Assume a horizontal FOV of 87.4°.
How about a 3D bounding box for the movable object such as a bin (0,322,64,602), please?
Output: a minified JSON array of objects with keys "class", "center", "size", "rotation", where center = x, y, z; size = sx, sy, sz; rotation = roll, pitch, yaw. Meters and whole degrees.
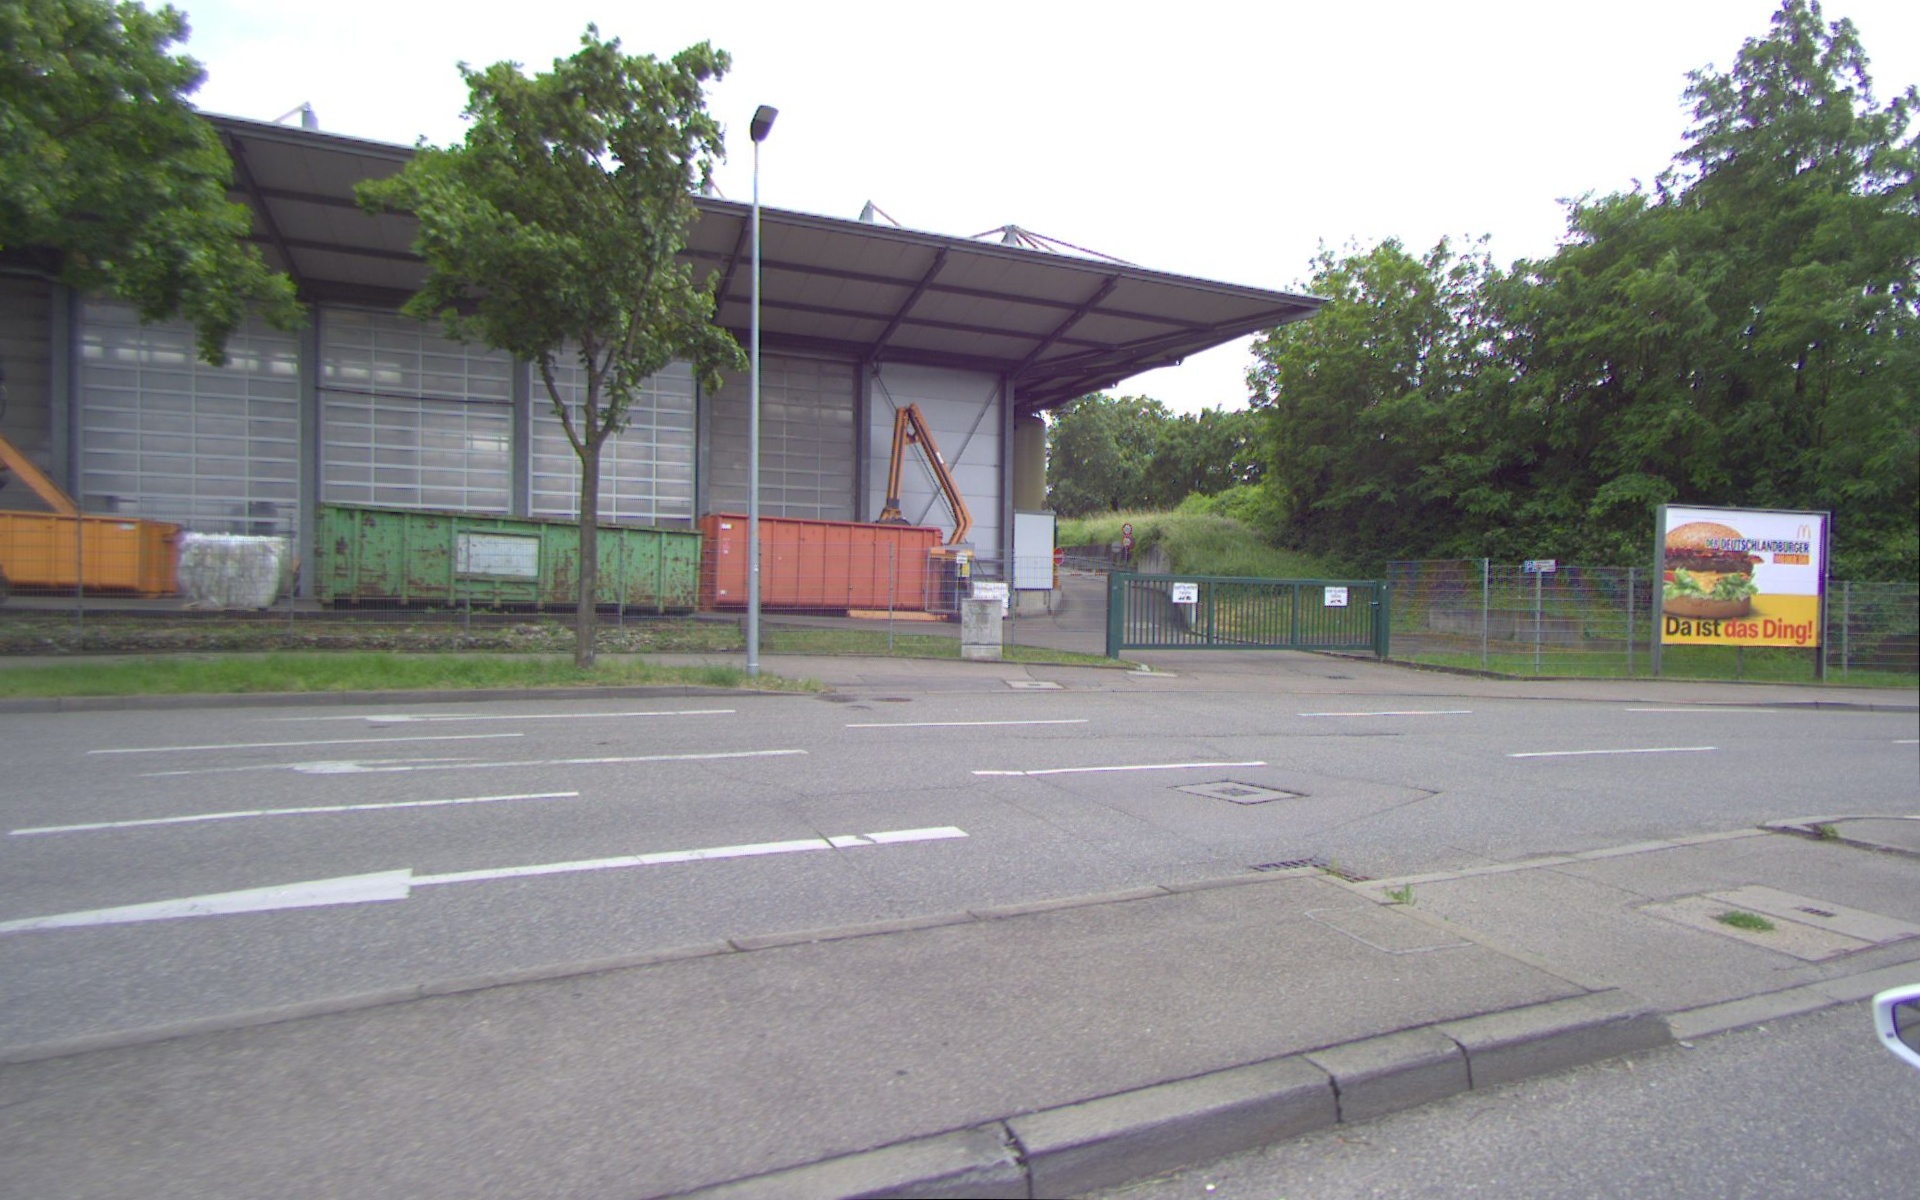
[{"class":"movable object such as a bin","center":[-17.599,-2.069,14.526],"size":[6.475,4.146,2.712],"rotation":[0,0,-30]}]
